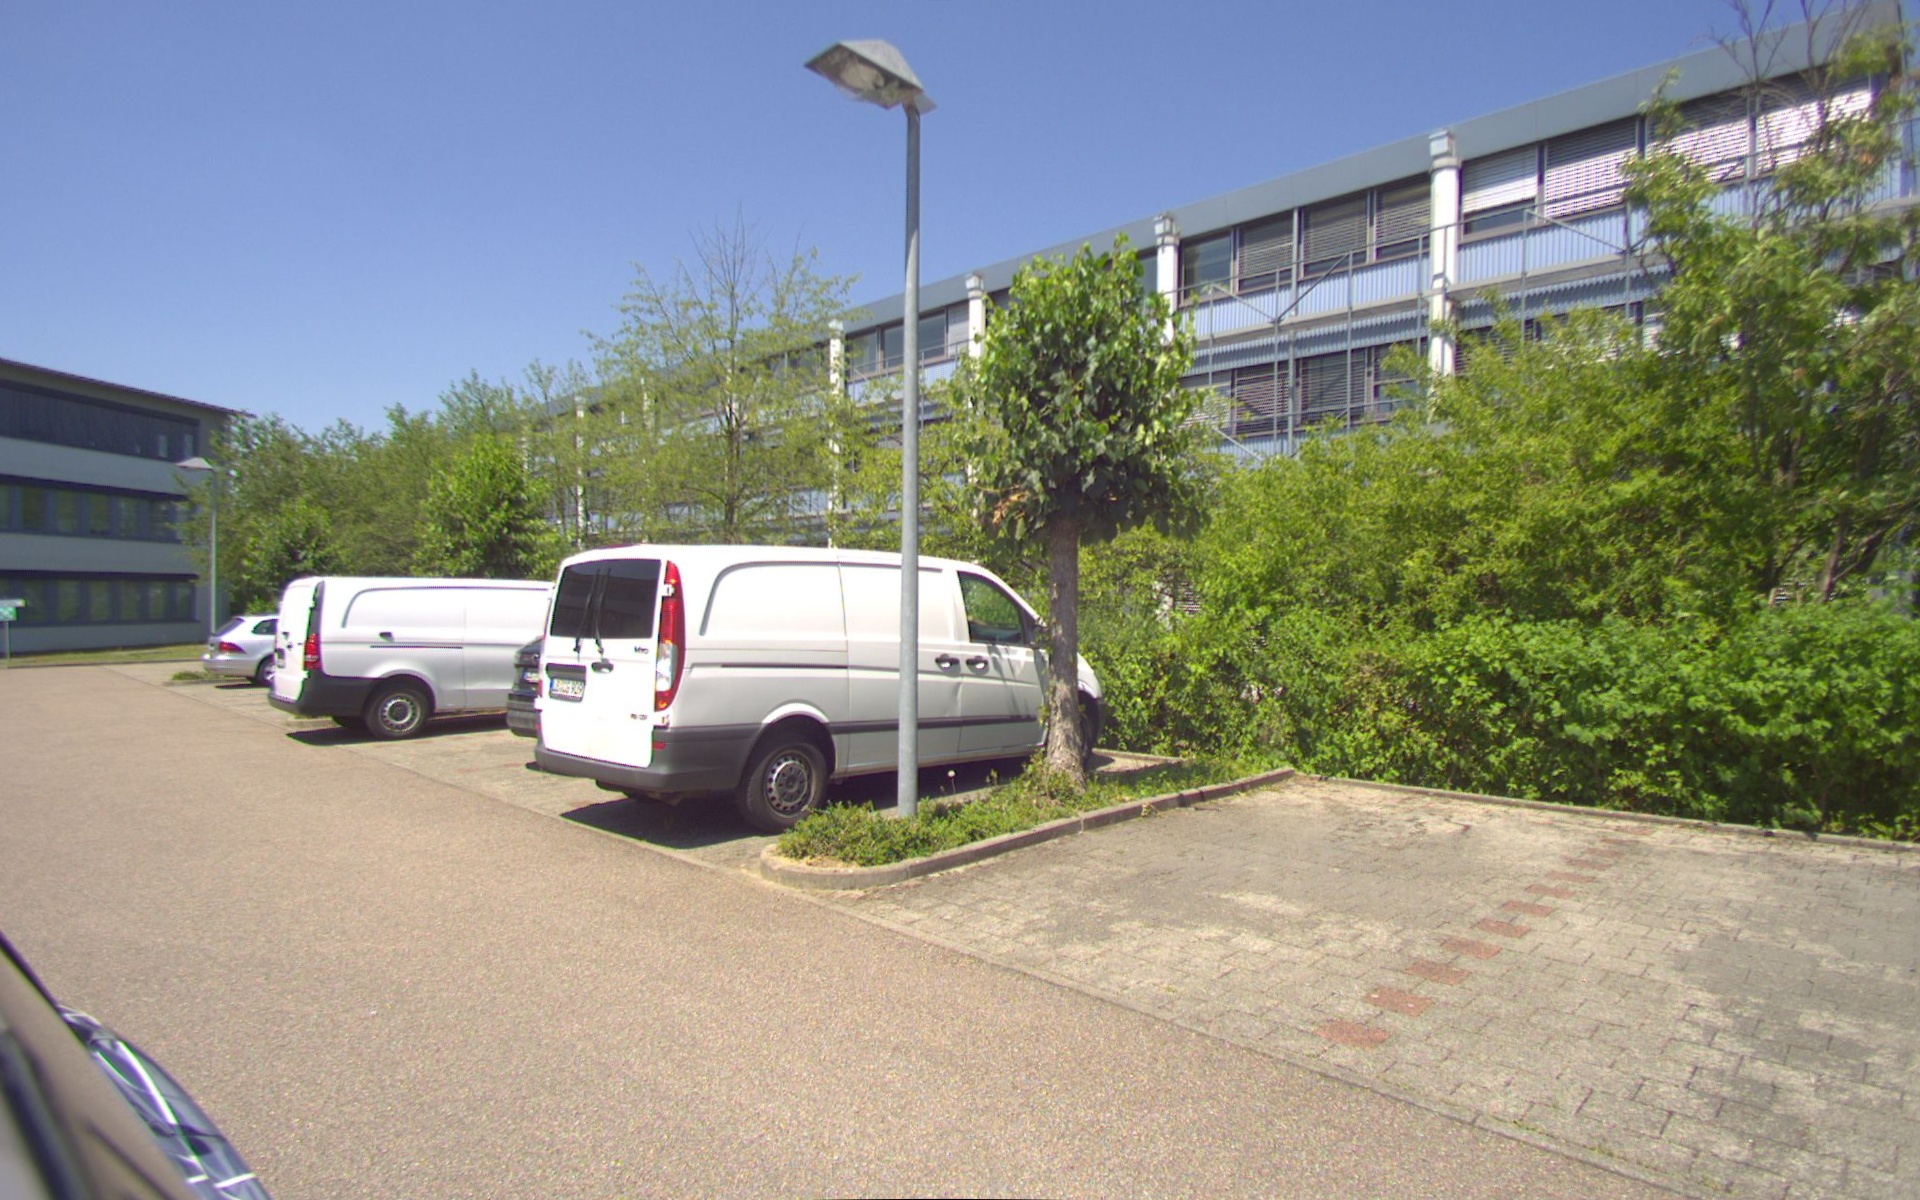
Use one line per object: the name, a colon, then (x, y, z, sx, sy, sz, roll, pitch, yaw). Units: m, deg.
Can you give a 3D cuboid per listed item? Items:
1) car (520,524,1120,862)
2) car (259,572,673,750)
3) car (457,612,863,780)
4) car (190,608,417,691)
car: (-0.807, 0.541, 8.106, 1.829, 1.920, 4.668, -1, -1, 43)
car: (-6.167, 0.661, 13.050, 1.829, 1.896, 4.456, -1, -1, 43)
car: (-2.963, 0.847, 10.556, 1.577, 1.404, 3.797, -1, -1, 43)
car: (-13.675, 0.965, 21.211, 1.661, 1.569, 3.712, -1, -1, 43)
